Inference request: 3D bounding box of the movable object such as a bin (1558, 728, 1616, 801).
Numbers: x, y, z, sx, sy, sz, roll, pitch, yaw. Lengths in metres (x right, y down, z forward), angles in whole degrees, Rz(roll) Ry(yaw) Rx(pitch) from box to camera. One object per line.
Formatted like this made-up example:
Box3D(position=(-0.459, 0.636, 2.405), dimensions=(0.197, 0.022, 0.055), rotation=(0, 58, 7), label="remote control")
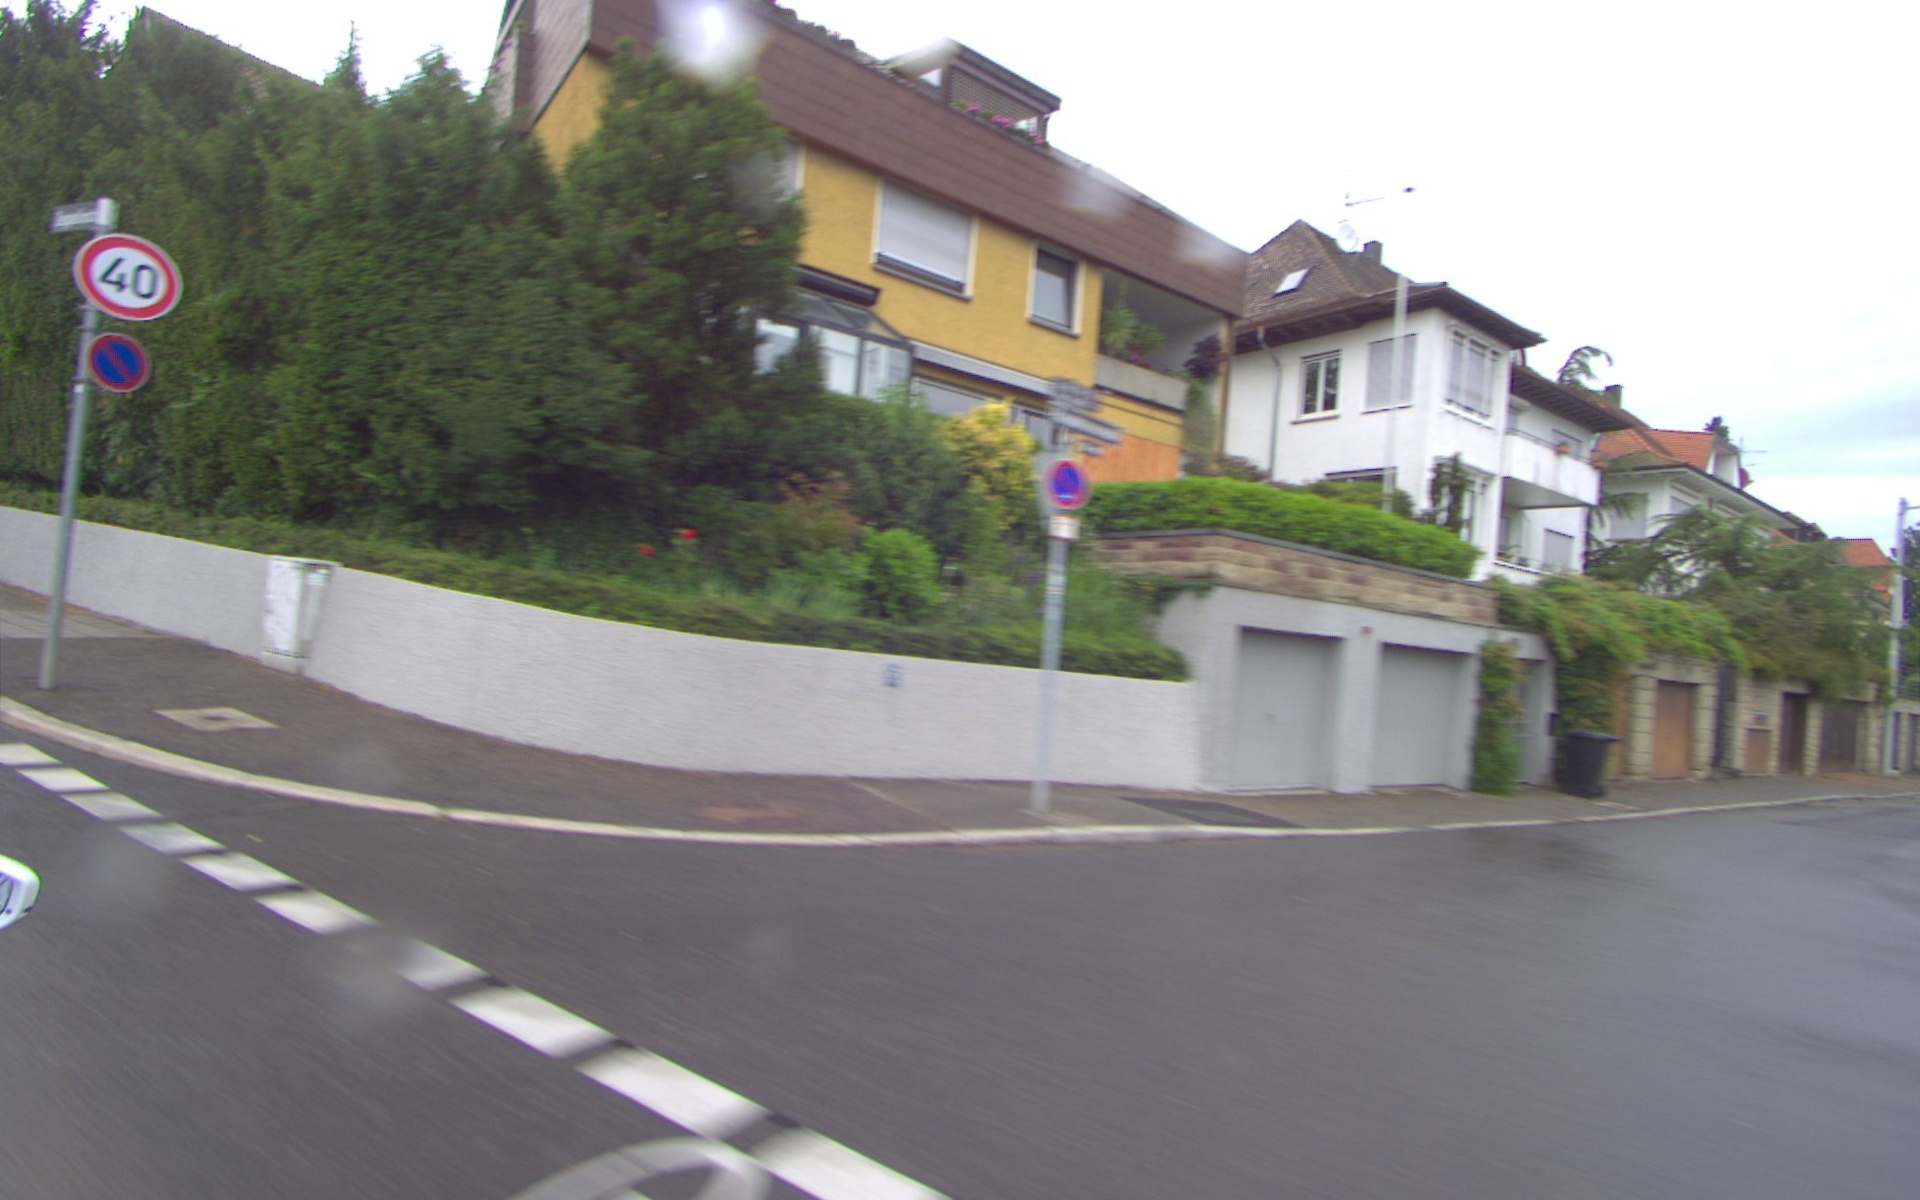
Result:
Box3D(position=(10.184, 2.657, 16.363), dimensions=(0.674, 1.031, 0.529), rotation=(7, 0, 32), label="movable object such as a bin")
